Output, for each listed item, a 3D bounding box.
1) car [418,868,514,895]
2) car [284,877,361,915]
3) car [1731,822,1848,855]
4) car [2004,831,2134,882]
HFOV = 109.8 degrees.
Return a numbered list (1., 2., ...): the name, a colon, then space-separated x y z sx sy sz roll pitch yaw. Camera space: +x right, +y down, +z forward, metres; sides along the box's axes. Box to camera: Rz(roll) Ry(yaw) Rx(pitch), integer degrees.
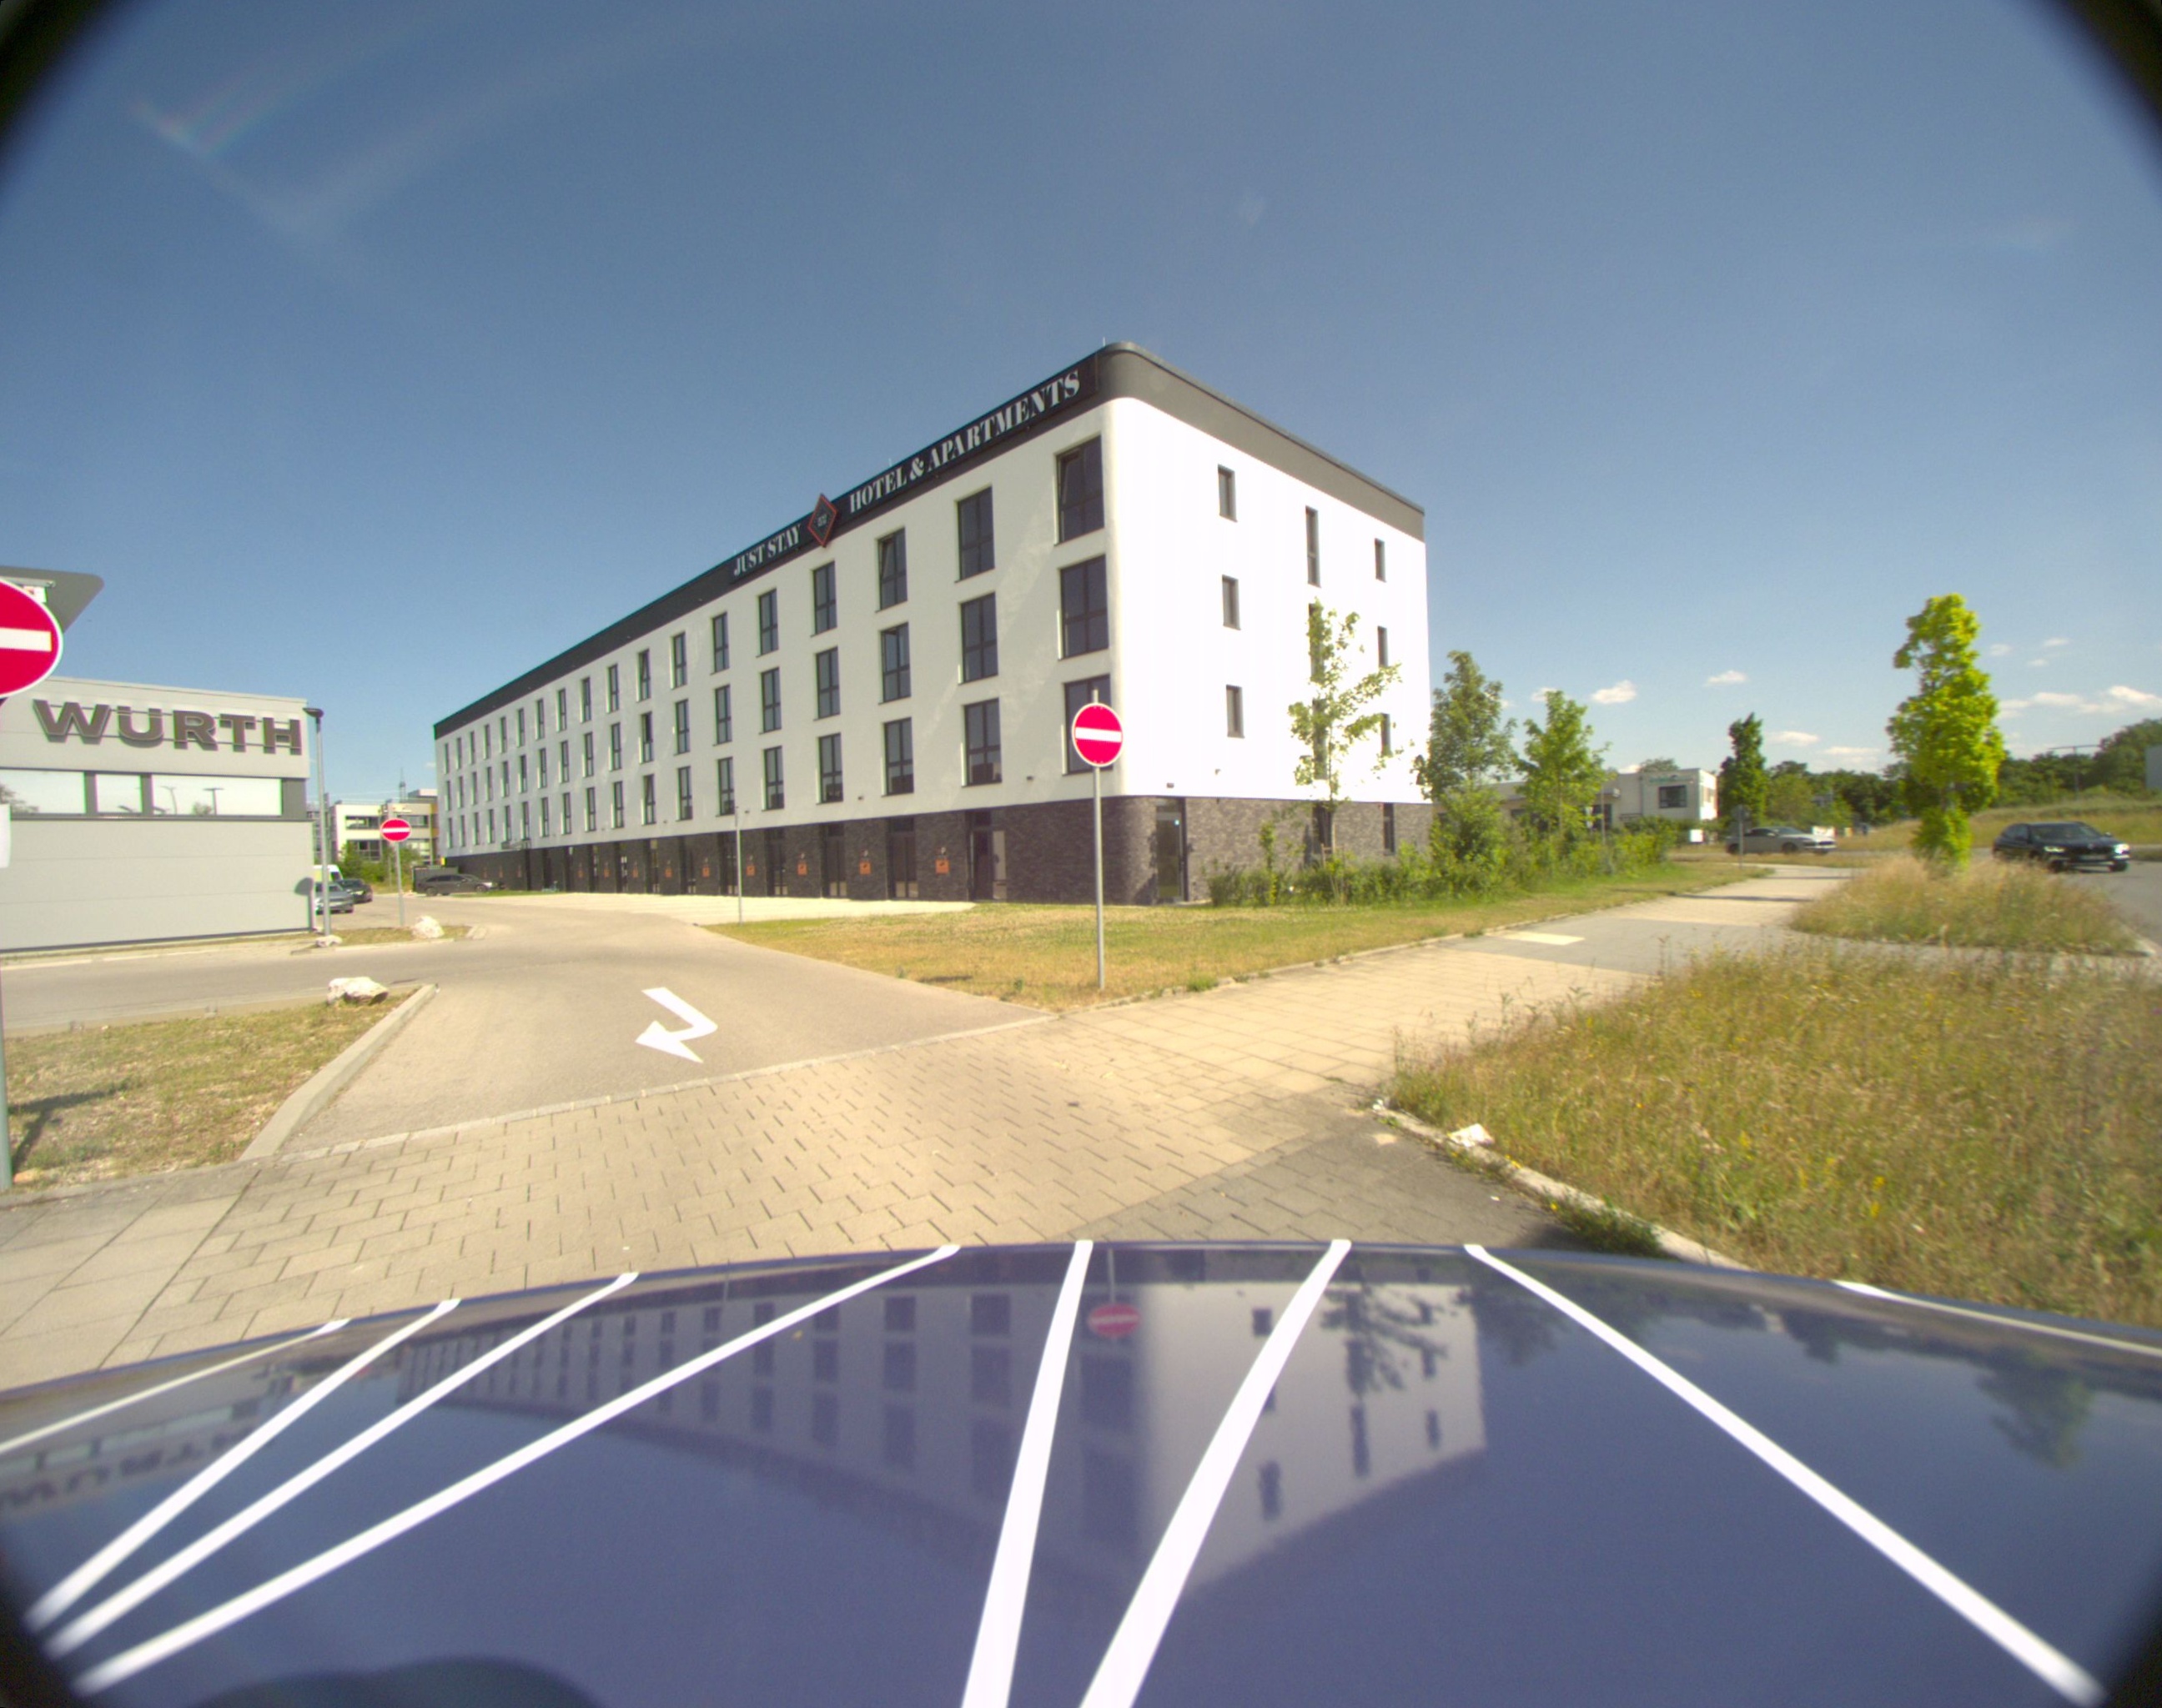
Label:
1. car: -41.302 1.820 51.145 4.527 1.499 1.877 -3 1 -14
2. car: -34.197 1.854 34.231 3.989 1.499 1.883 -2 1 37
3. car: 38.053 -0.802 40.975 1.842 1.565 4.393 -4 1 -10
4. car: 33.348 0.056 25.782 1.838 1.564 4.008 -3 0 40
